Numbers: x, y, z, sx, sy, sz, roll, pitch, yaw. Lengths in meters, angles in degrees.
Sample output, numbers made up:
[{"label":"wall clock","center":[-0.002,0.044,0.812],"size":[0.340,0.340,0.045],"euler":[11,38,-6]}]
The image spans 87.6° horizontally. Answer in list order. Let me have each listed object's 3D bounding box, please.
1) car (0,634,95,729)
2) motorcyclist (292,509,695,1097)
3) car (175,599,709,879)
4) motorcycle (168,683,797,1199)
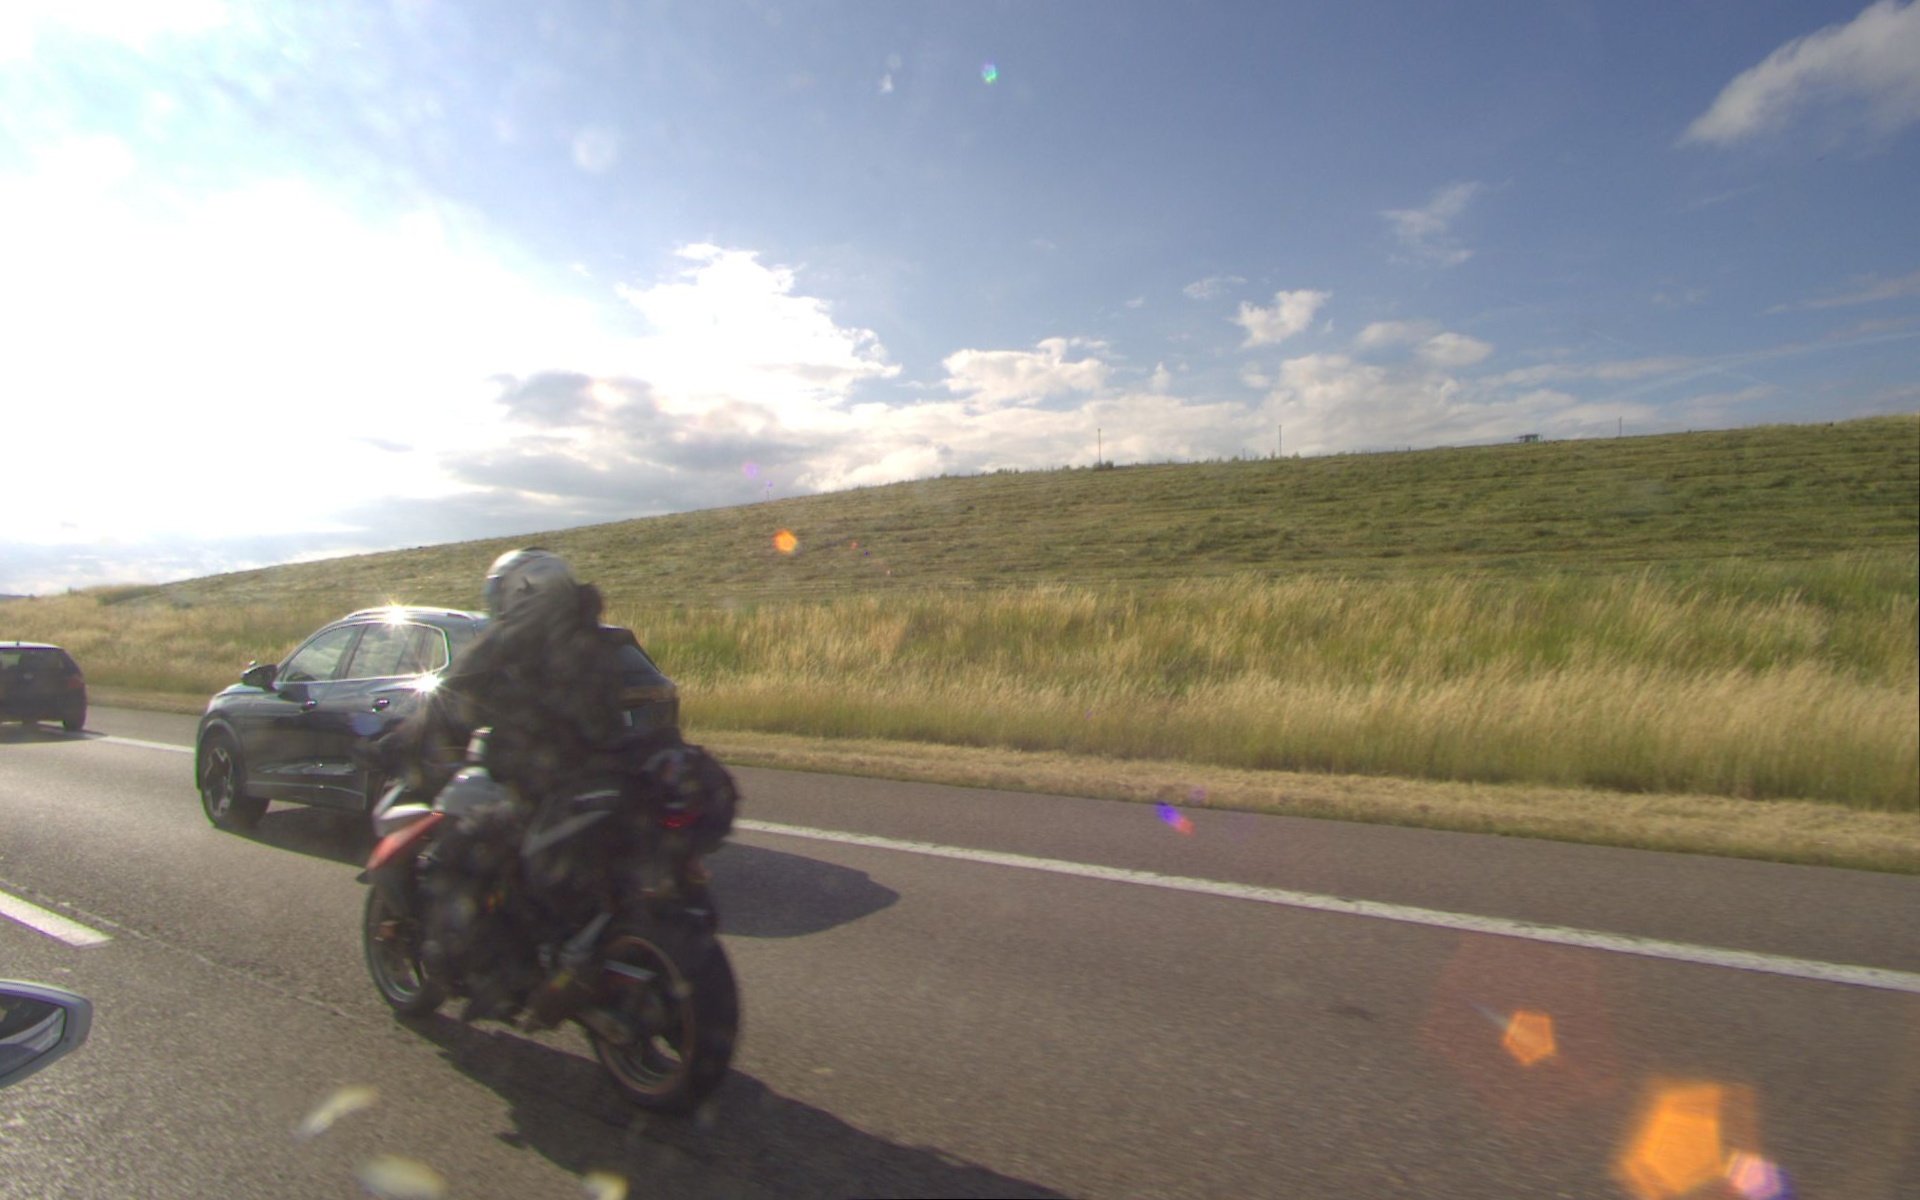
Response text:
[{"label":"car","center":[-15.990,1.308,16.665],"size":[3.624,1.438,1.601],"euler":[-2,-2,35]},{"label":"motorcyclist","center":[-1.518,0.565,3.304],"size":[0.921,1.580,0.848],"euler":[-1,-1,32]},{"label":"car","center":[-4.081,0.902,7.719],"size":[4.175,1.621,1.818],"euler":[-2,-3,33]},{"label":"motorcycle","center":[-1.696,0.927,3.412],"size":[2.224,1.205,0.894],"euler":[-2,-2,32]}]
